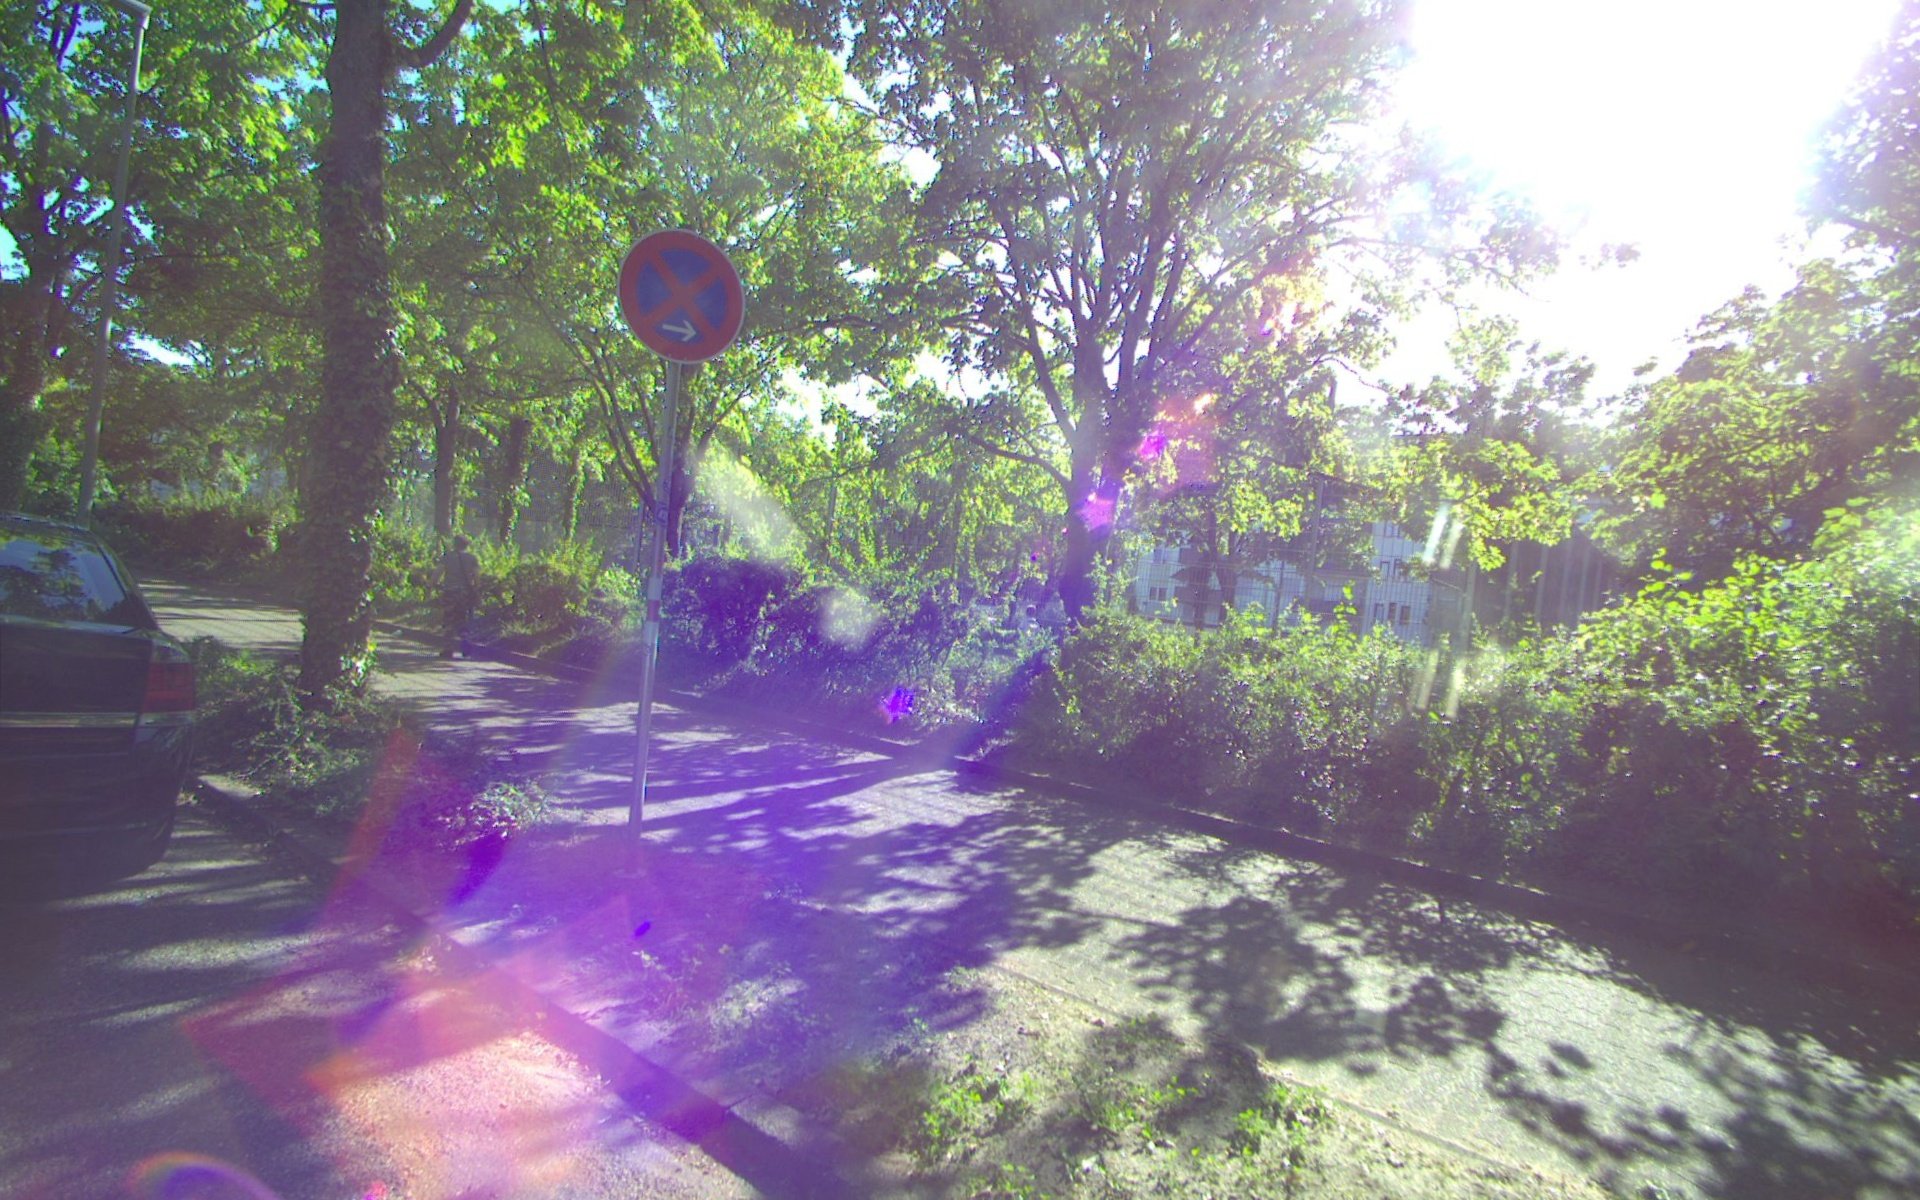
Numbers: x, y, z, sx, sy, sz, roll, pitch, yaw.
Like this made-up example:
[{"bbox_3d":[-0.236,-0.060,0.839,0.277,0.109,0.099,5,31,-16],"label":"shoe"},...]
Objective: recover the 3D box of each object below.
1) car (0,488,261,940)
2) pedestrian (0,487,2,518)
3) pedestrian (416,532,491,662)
[{"bbox_3d":[-4.806,0.222,4.443,3.973,1.498,1.747,6,-2,40],"label":"car"},{"bbox_3d":[-38.414,-3.586,39.691,0.689,1.836,0.698,7,2,35],"label":"pedestrian"},{"bbox_3d":[-6.705,-0.044,13.315,0.569,1.628,0.663,7,0,-43],"label":"pedestrian"}]
